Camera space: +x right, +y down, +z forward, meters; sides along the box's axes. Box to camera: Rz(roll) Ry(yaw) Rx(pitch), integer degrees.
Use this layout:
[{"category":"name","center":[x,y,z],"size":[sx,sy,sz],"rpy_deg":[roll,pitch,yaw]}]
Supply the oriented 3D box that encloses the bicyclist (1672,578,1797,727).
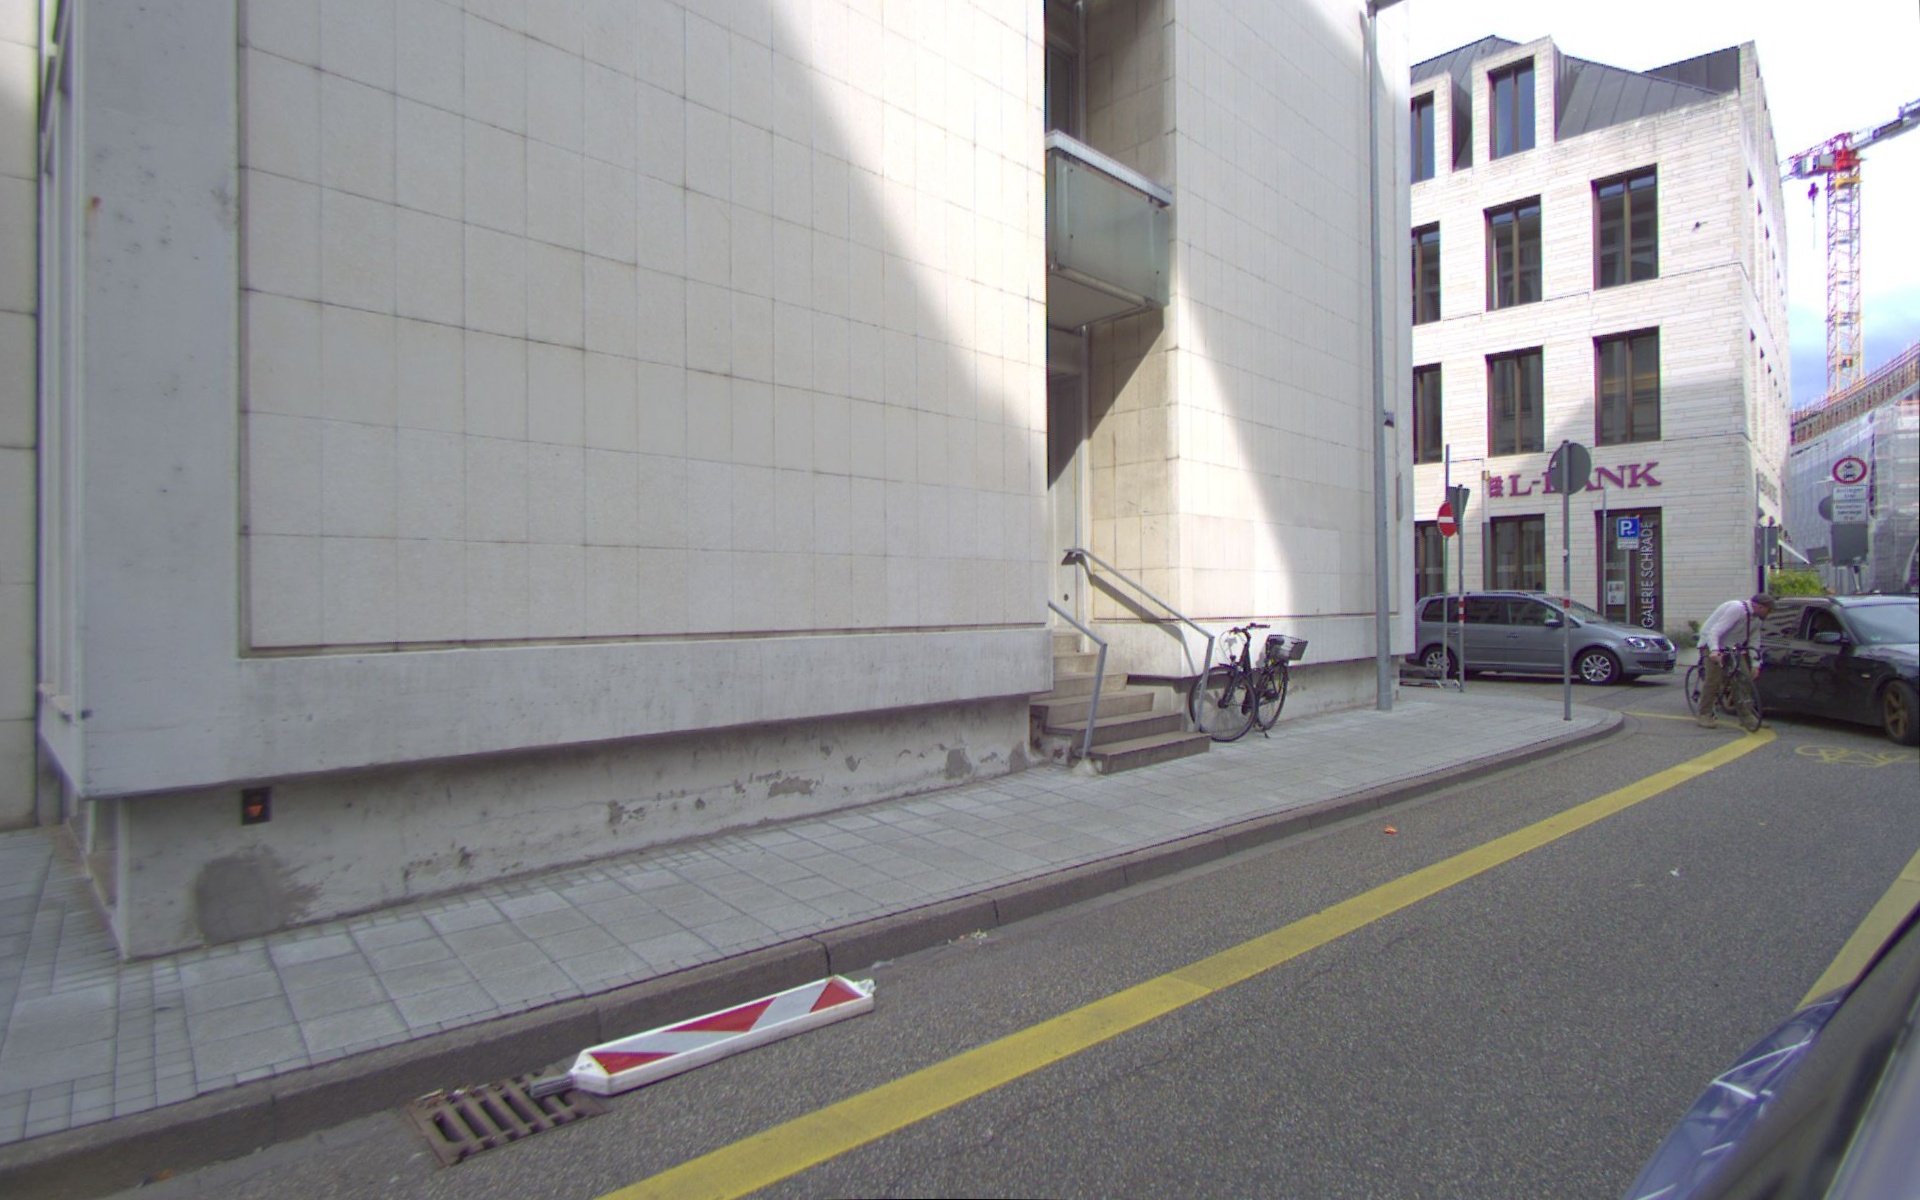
[{"category":"bicyclist","center":[8.823,0.568,11.570],"size":[0.881,1.614,0.872],"rpy_deg":[0,0,19]}]

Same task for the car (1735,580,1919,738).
[{"category":"car","center":[10.219,0.546,10.654],"size":[1.690,1.509,3.754],"rpy_deg":[-1,0,10]}]

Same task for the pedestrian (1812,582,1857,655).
[{"category":"pedestrian","center":[22.754,0.462,26.343],"size":[0.858,1.854,0.762],"rpy_deg":[0,0,43]}]

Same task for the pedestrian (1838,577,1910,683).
[{"category":"pedestrian","center":[16.498,0.516,18.297],"size":[0.767,1.854,0.853],"rpy_deg":[0,0,29]}]

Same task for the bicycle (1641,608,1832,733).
[{"category":"bicycle","center":[8.906,0.733,11.786],"size":[0.860,1.209,2.847],"rpy_deg":[0,1,18]}]

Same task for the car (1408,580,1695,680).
[{"category":"car","center":[10.658,0.464,18.460],"size":[1.784,1.610,4.187],"rpy_deg":[-1,1,-42]}]

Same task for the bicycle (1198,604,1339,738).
[{"category":"bicycle","center":[3.092,0.645,10.033],"size":[0.588,1.182,1.786],"rpy_deg":[0,0,44]}]

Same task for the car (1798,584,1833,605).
[{"category":"car","center":[63.990,-0.417,75.741],"size":[1.578,1.505,3.952],"rpy_deg":[0,1,34]}]

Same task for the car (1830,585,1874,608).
[{"category":"car","center":[58.544,-0.250,66.472],"size":[1.578,1.505,3.952],"rpy_deg":[0,1,34]}]

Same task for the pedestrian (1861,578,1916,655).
[{"category":"pedestrian","center":[23.117,0.397,25.202],"size":[0.759,1.854,0.862],"rpy_deg":[-1,0,-34]}]
